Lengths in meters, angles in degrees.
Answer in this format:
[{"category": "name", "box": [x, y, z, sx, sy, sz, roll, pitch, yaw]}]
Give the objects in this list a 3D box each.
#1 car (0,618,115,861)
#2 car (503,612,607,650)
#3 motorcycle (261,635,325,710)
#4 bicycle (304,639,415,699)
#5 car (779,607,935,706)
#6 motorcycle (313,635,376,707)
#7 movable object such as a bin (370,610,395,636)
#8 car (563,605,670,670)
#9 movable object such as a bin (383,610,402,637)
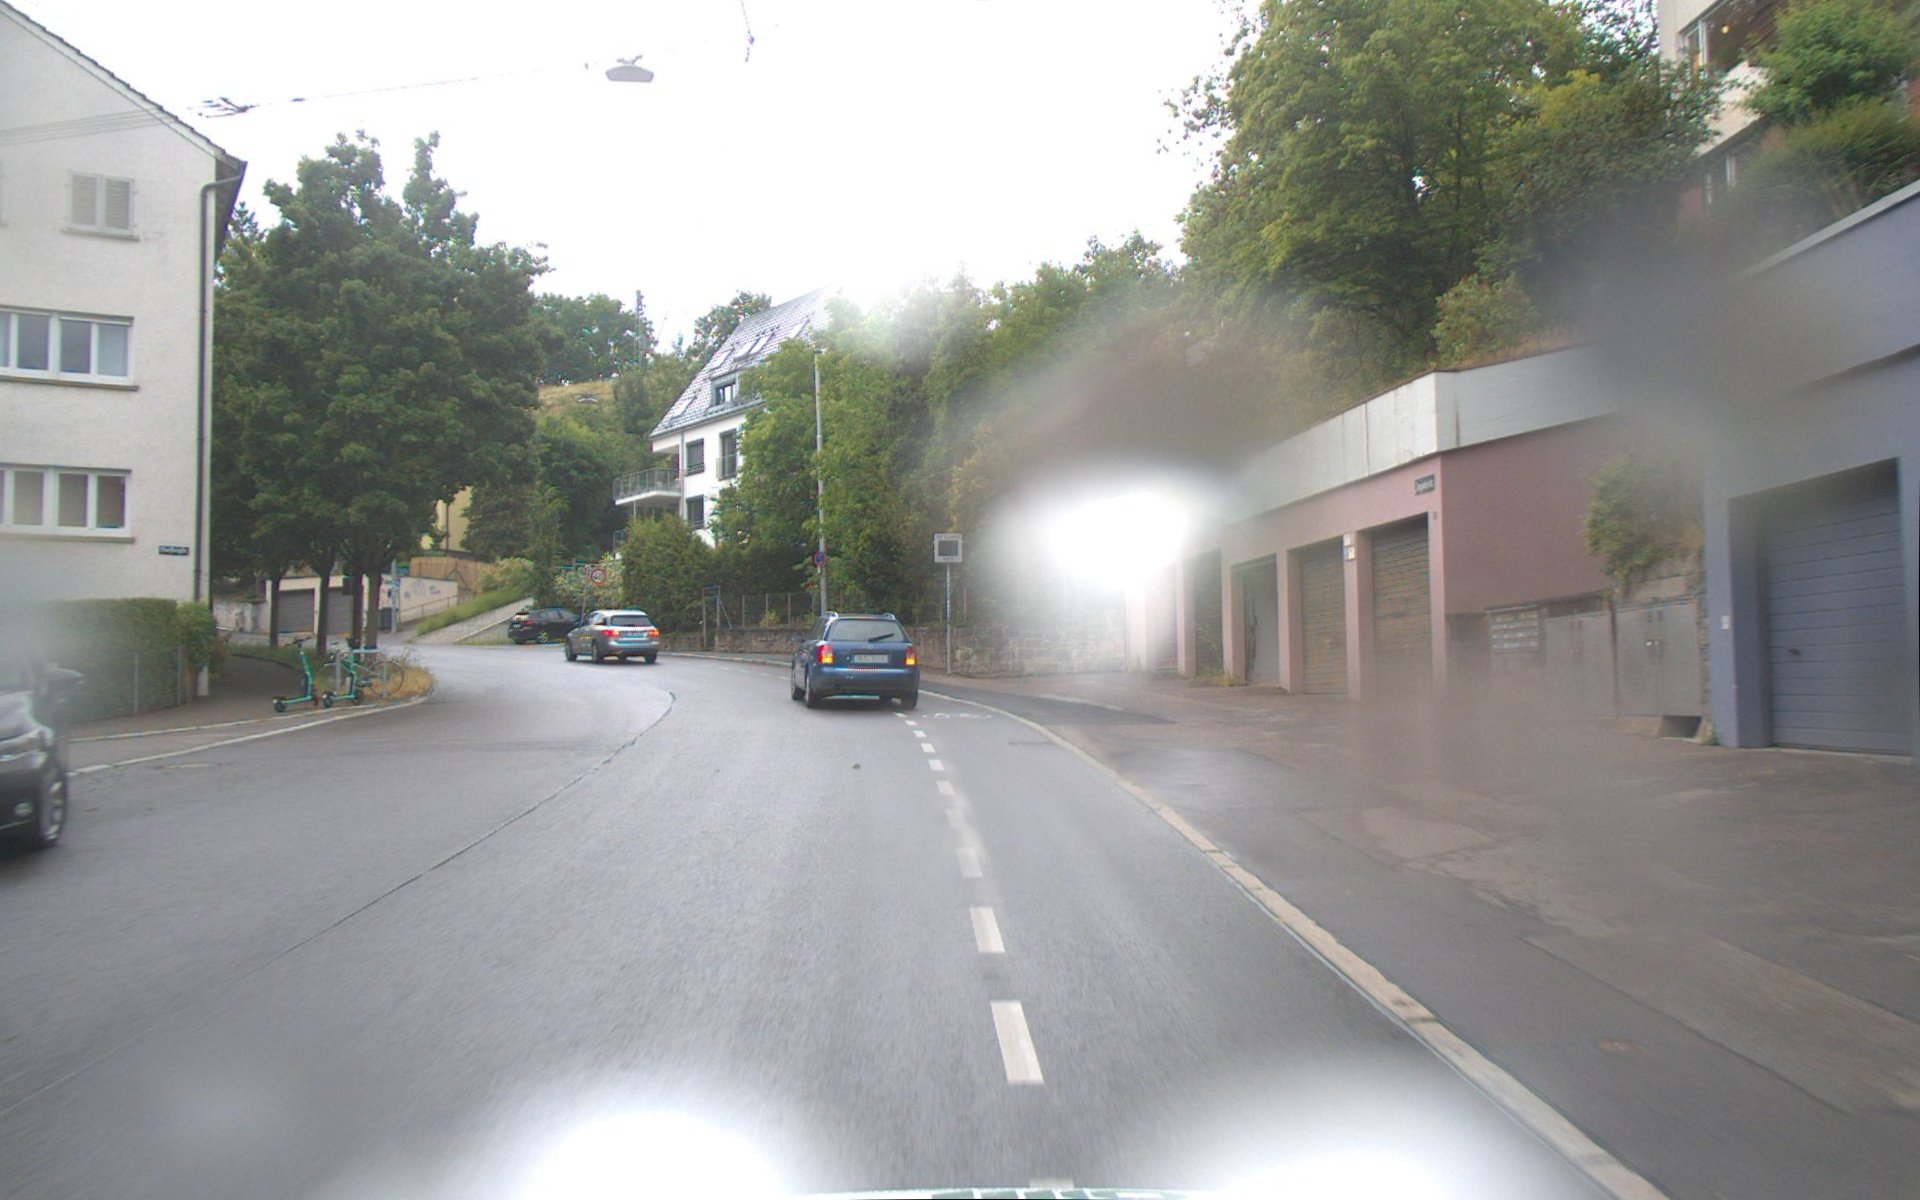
[{"category": "car", "box": [-6.935, 0.844, 11.306, 1.971, 1.415, 4.157, 0, -1, -29]}, {"category": "car", "box": [-17.123, 1.299, 70.018, 1.706, 1.534, 4.164, 0, -1, 37]}, {"category": "motorcycle", "box": [-11.504, 1.237, 28.545, 0.541, 1.249, 1.305, 0, 0, 2]}, {"category": "bicycle", "box": [-11.562, 1.308, 31.842, 1.939, 1.079, 0.747, 0, 0, -27]}, {"category": "car", "box": [-1.755, 0.845, 26.686, 1.822, 1.439, 4.346, 0, 0, -13]}, {"category": "motorcycle", "box": [-10.908, 1.245, 29.335, 0.545, 1.225, 1.399, 0, 0, 2]}, {"category": "movable object such as a bin", "box": [-27.887, 1.108, 79.824, 0.769, 1.206, 0.862, 0, 0, 23]}, {"category": "car", "box": [-9.908, 1.045, 47.514, 1.927, 1.588, 4.226, 4, 0, -27]}, {"category": "movable object such as a bin", "box": [-27.276, 1.125, 79.503, 0.567, 1.245, 0.704, 0, 0, 23]}]
